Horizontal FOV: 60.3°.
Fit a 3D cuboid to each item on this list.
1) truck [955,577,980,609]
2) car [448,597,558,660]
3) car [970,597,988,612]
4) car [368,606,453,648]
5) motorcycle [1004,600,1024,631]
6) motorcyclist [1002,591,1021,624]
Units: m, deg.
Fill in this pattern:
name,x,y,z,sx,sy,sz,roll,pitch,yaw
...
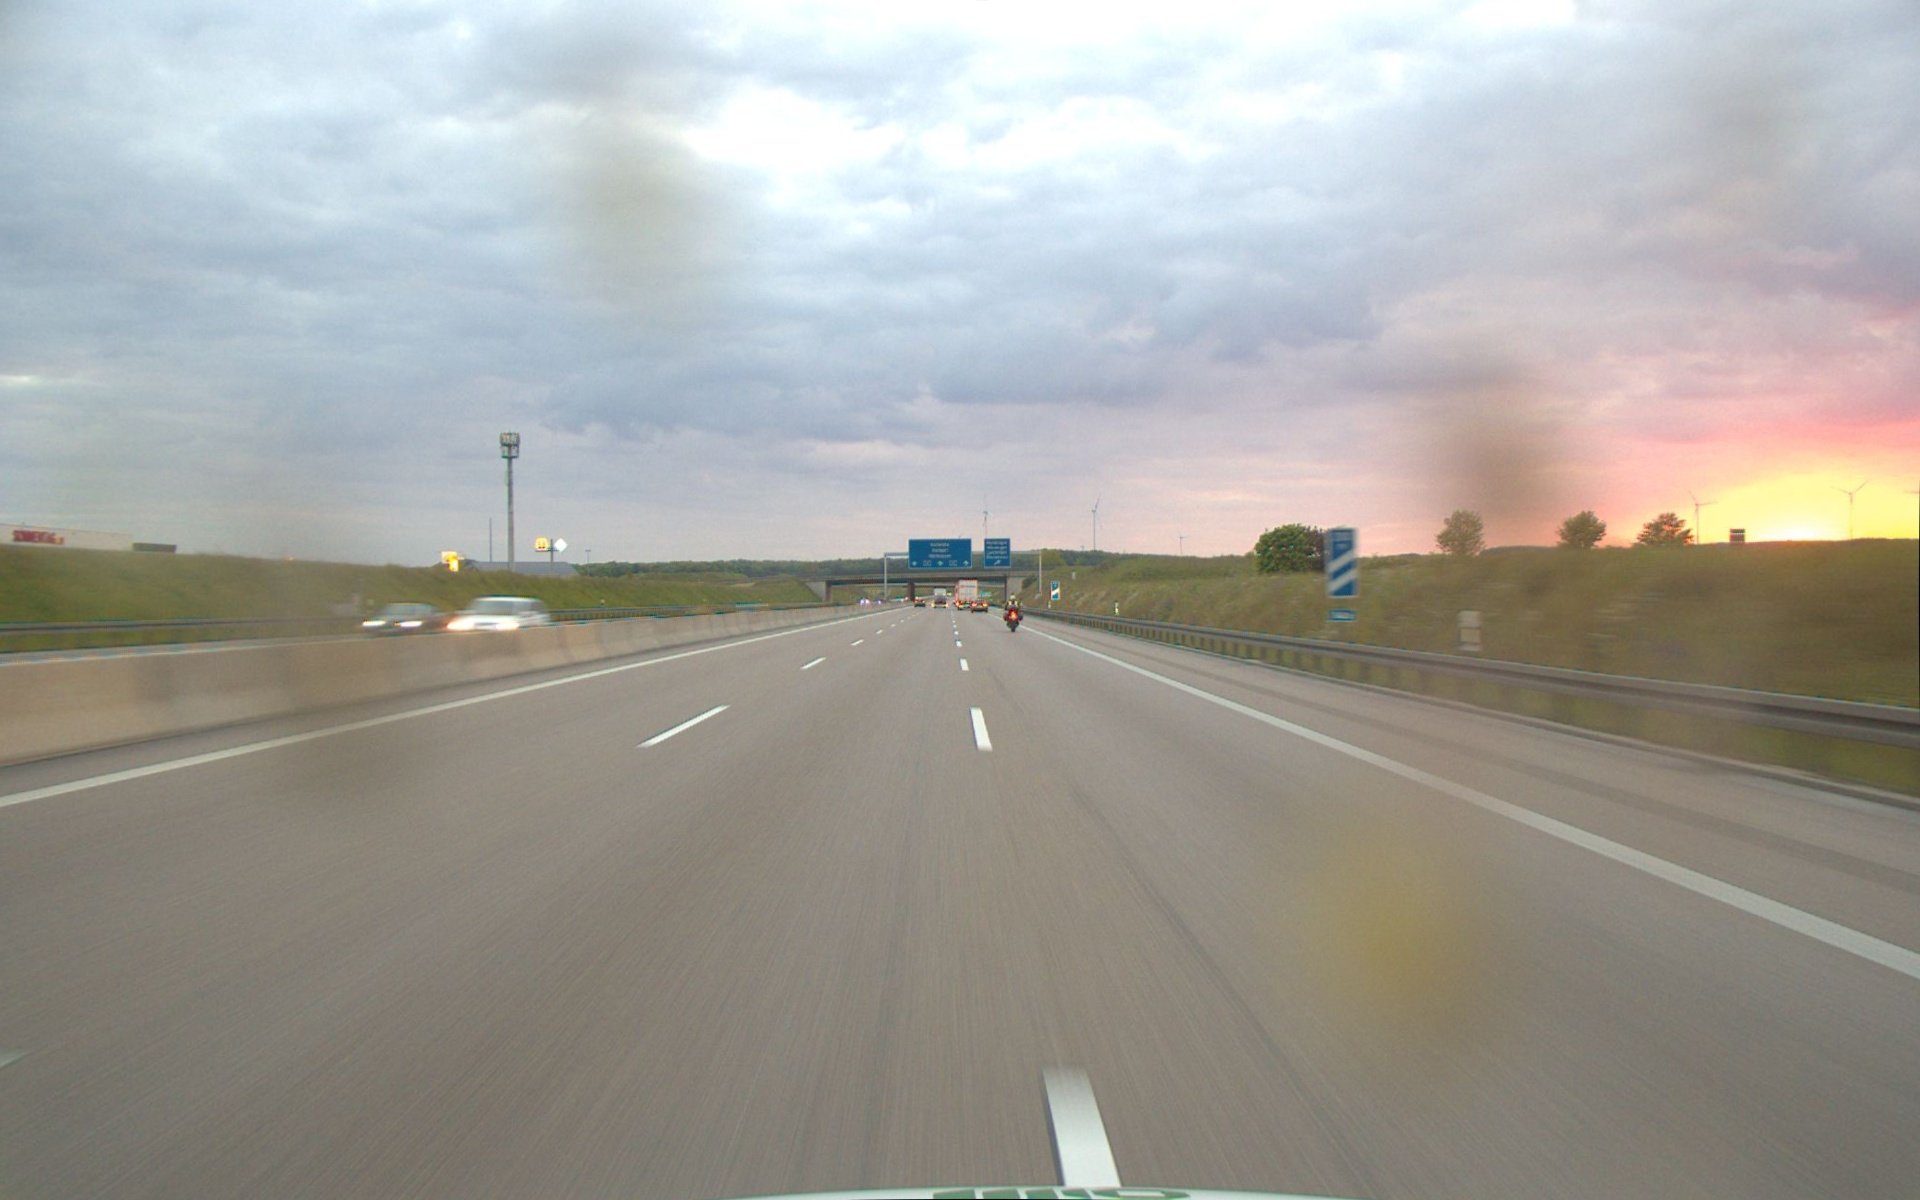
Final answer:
name,x,y,z,sx,sy,sz,roll,pitch,yaw
truck,1.020,-0.967,225.486,3.167,4.301,9.598,1,0,0
car,-13.505,0.797,49.230,1.953,1.766,5.181,0,0,-1
car,2.126,0.461,182.891,1.879,1.607,3.999,0,0,-1
car,-19.859,0.945,59.897,1.703,1.417,4.342,0,0,-1
motorcycle,2.532,0.726,77.801,0.883,1.370,2.349,0,1,0
motorcyclist,2.420,0.367,77.661,0.848,1.513,1.168,1,0,1
